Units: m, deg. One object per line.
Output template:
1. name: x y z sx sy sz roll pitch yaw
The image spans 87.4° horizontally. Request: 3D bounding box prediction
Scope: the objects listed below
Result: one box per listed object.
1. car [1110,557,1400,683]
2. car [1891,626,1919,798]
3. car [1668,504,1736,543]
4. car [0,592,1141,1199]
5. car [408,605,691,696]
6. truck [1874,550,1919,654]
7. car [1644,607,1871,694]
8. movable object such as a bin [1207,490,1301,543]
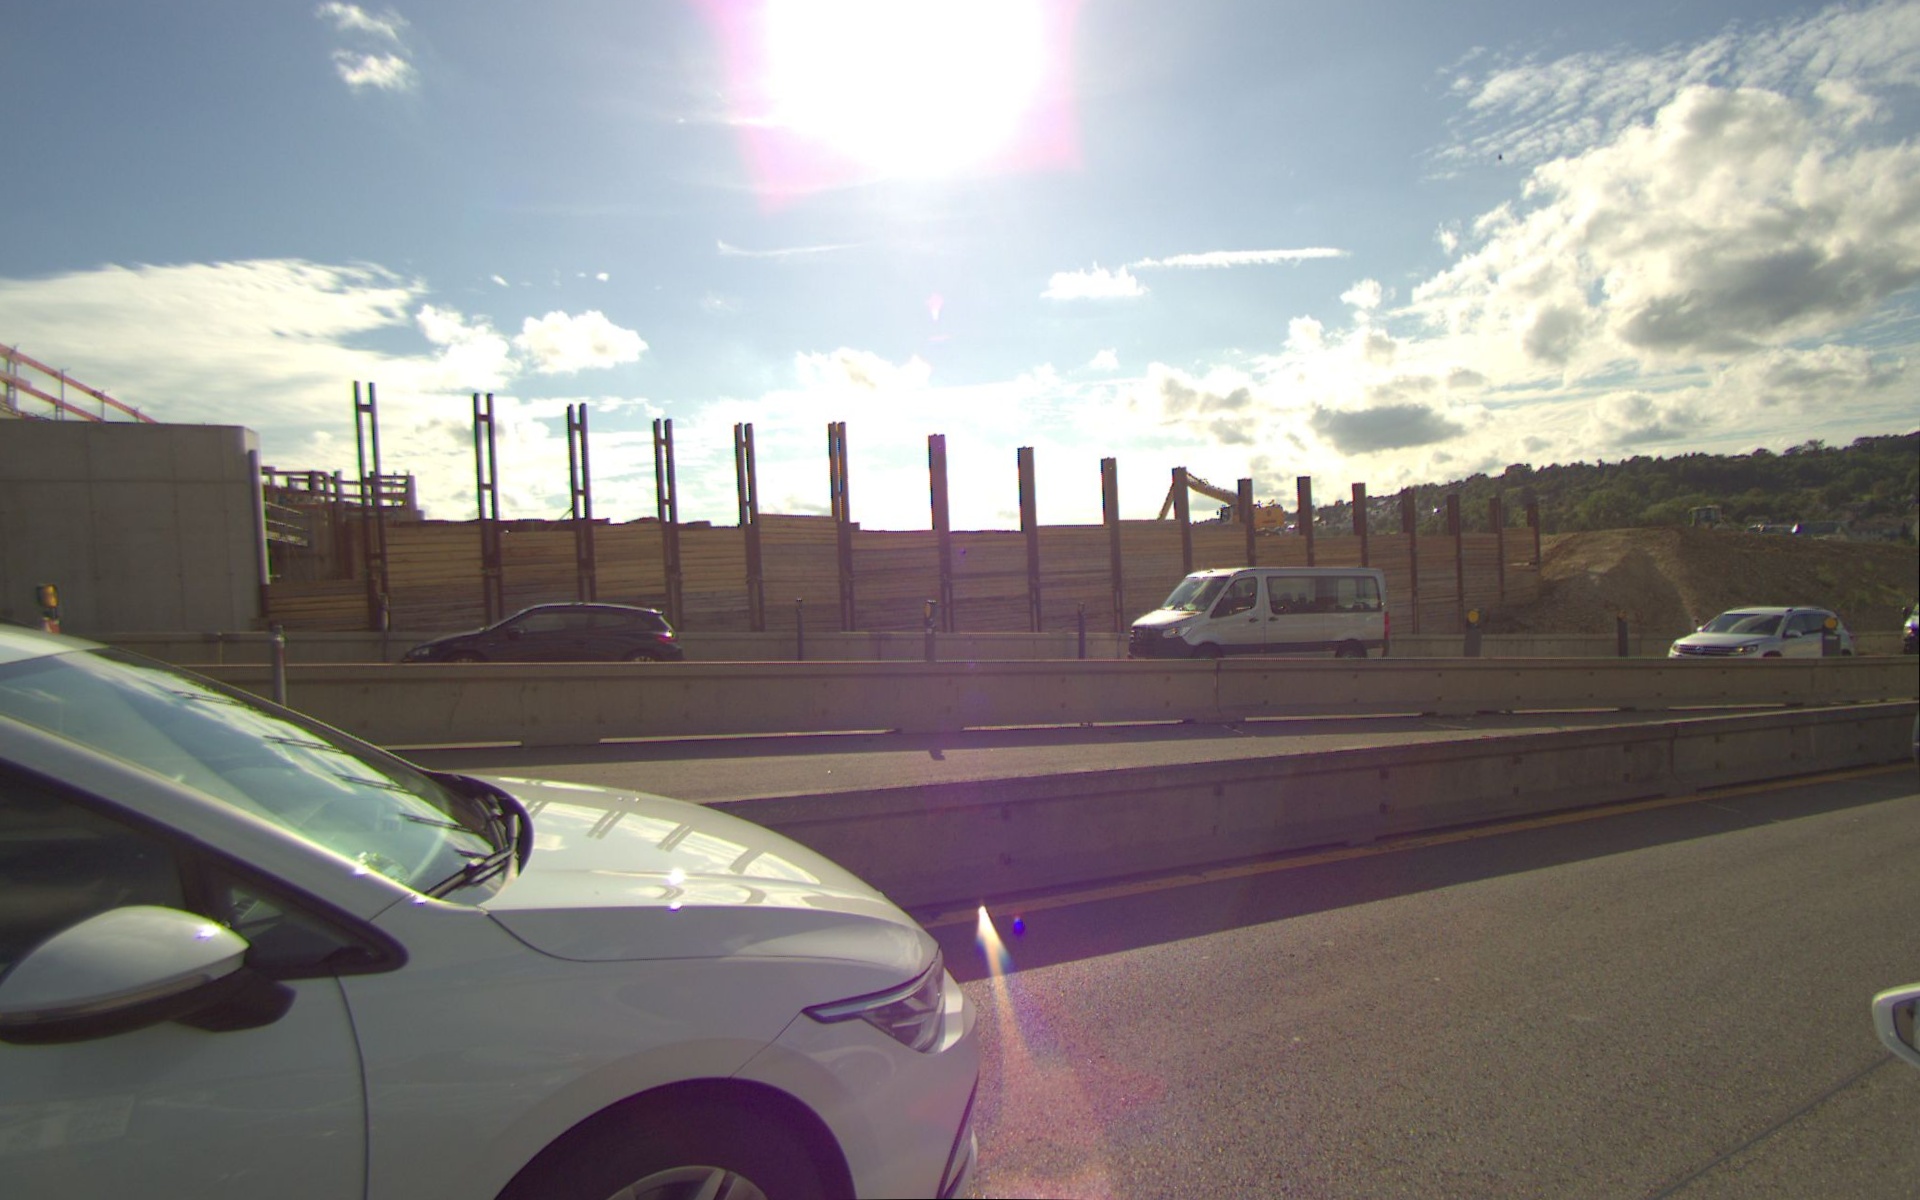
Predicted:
1. car: 6.332 0.464 21.541 5.781 2.434 2.254 2 0 -21
2. car: 10.097 0.974 8.863 3.954 1.441 1.713 1 0 -31
3. car: 52.287 -5.344 70.743 5.262 2.167 1.984 2 -5 -32
4. car: -1.995 0.742 1.787 4.462 1.510 1.762 3 -2 -29
5. car: -6.419 0.745 16.044 3.940 1.290 1.917 1 0 -21
6. truck: 34.437 0.187 33.775 7.432 3.355 2.693 2 0 -24
7. car: 17.367 1.035 21.890 4.211 1.696 2.121 0 0 -23
8. movable object such as a bin: 22.418 -6.294 76.908 4.440 3.314 5.741 2 0 -19
